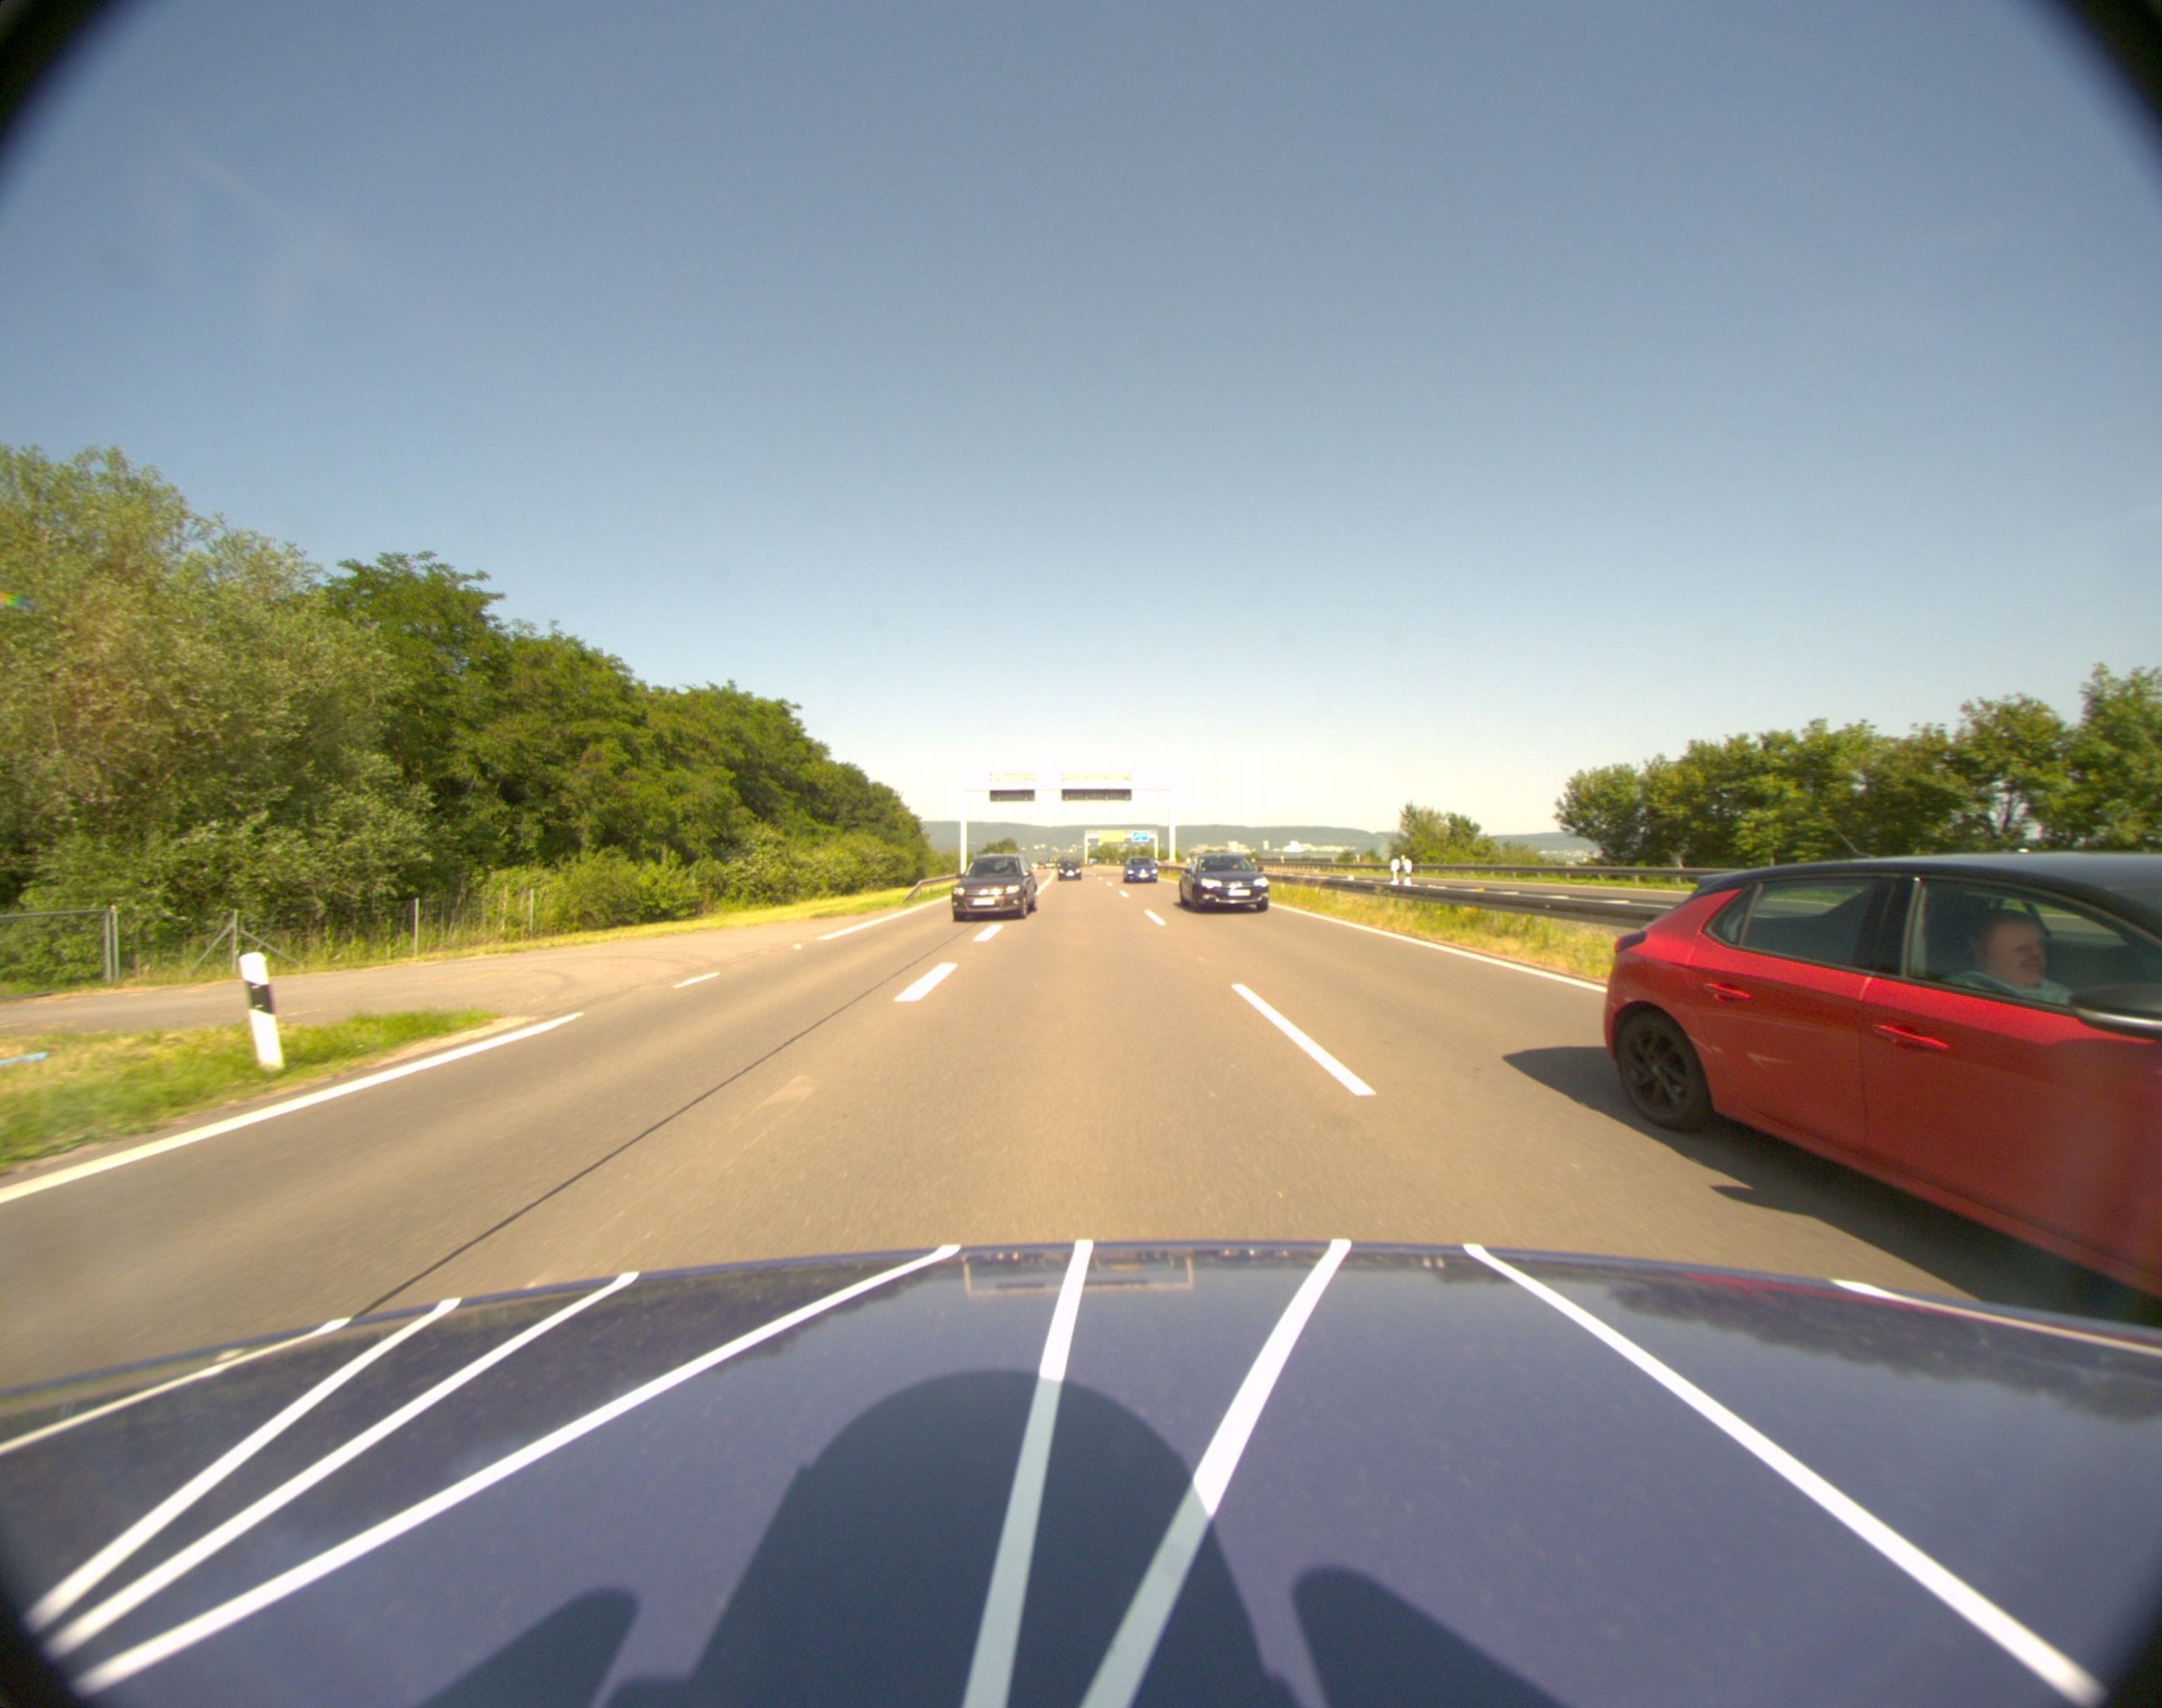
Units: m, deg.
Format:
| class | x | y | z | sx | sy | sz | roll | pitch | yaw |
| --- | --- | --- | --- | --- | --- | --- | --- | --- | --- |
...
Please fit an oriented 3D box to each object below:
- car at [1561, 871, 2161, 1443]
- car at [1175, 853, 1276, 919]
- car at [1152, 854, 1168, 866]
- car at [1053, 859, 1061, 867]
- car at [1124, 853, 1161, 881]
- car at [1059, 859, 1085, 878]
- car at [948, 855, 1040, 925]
| class | x | y | z | sx | sy | sz | roll | pitch | yaw |
| --- | --- | --- | --- | --- | --- | --- | --- | --- | --- |
| car | 3.773 | 0.858 | 2.423 | 1.713 | 1.429 | 4.411 | -1 | 1 | 0 |
| car | 3.708 | 0.778 | 20.233 | 1.788 | 1.524 | 4.375 | -2 | -1 | 0 |
| car | 11.143 | 0.872 | 107.849 | 1.737 | 1.607 | 4.002 | -1 | 0 | -2 |
| car | -5.083 | 1.920 | 161.375 | 1.677 | 1.521 | 4.000 | -2 | 0 | -1 |
| car | 3.395 | 0.704 | 42.636 | 1.652 | 1.403 | 3.775 | -2 | 1 | -1 |
| car | -0.673 | 0.995 | 52.869 | 1.601 | 1.241 | 3.999 | -2 | 0 | -3 |
| car | -2.207 | 0.897 | 20.357 | 1.789 | 1.637 | 4.149 | -2 | -1 | 2 |
